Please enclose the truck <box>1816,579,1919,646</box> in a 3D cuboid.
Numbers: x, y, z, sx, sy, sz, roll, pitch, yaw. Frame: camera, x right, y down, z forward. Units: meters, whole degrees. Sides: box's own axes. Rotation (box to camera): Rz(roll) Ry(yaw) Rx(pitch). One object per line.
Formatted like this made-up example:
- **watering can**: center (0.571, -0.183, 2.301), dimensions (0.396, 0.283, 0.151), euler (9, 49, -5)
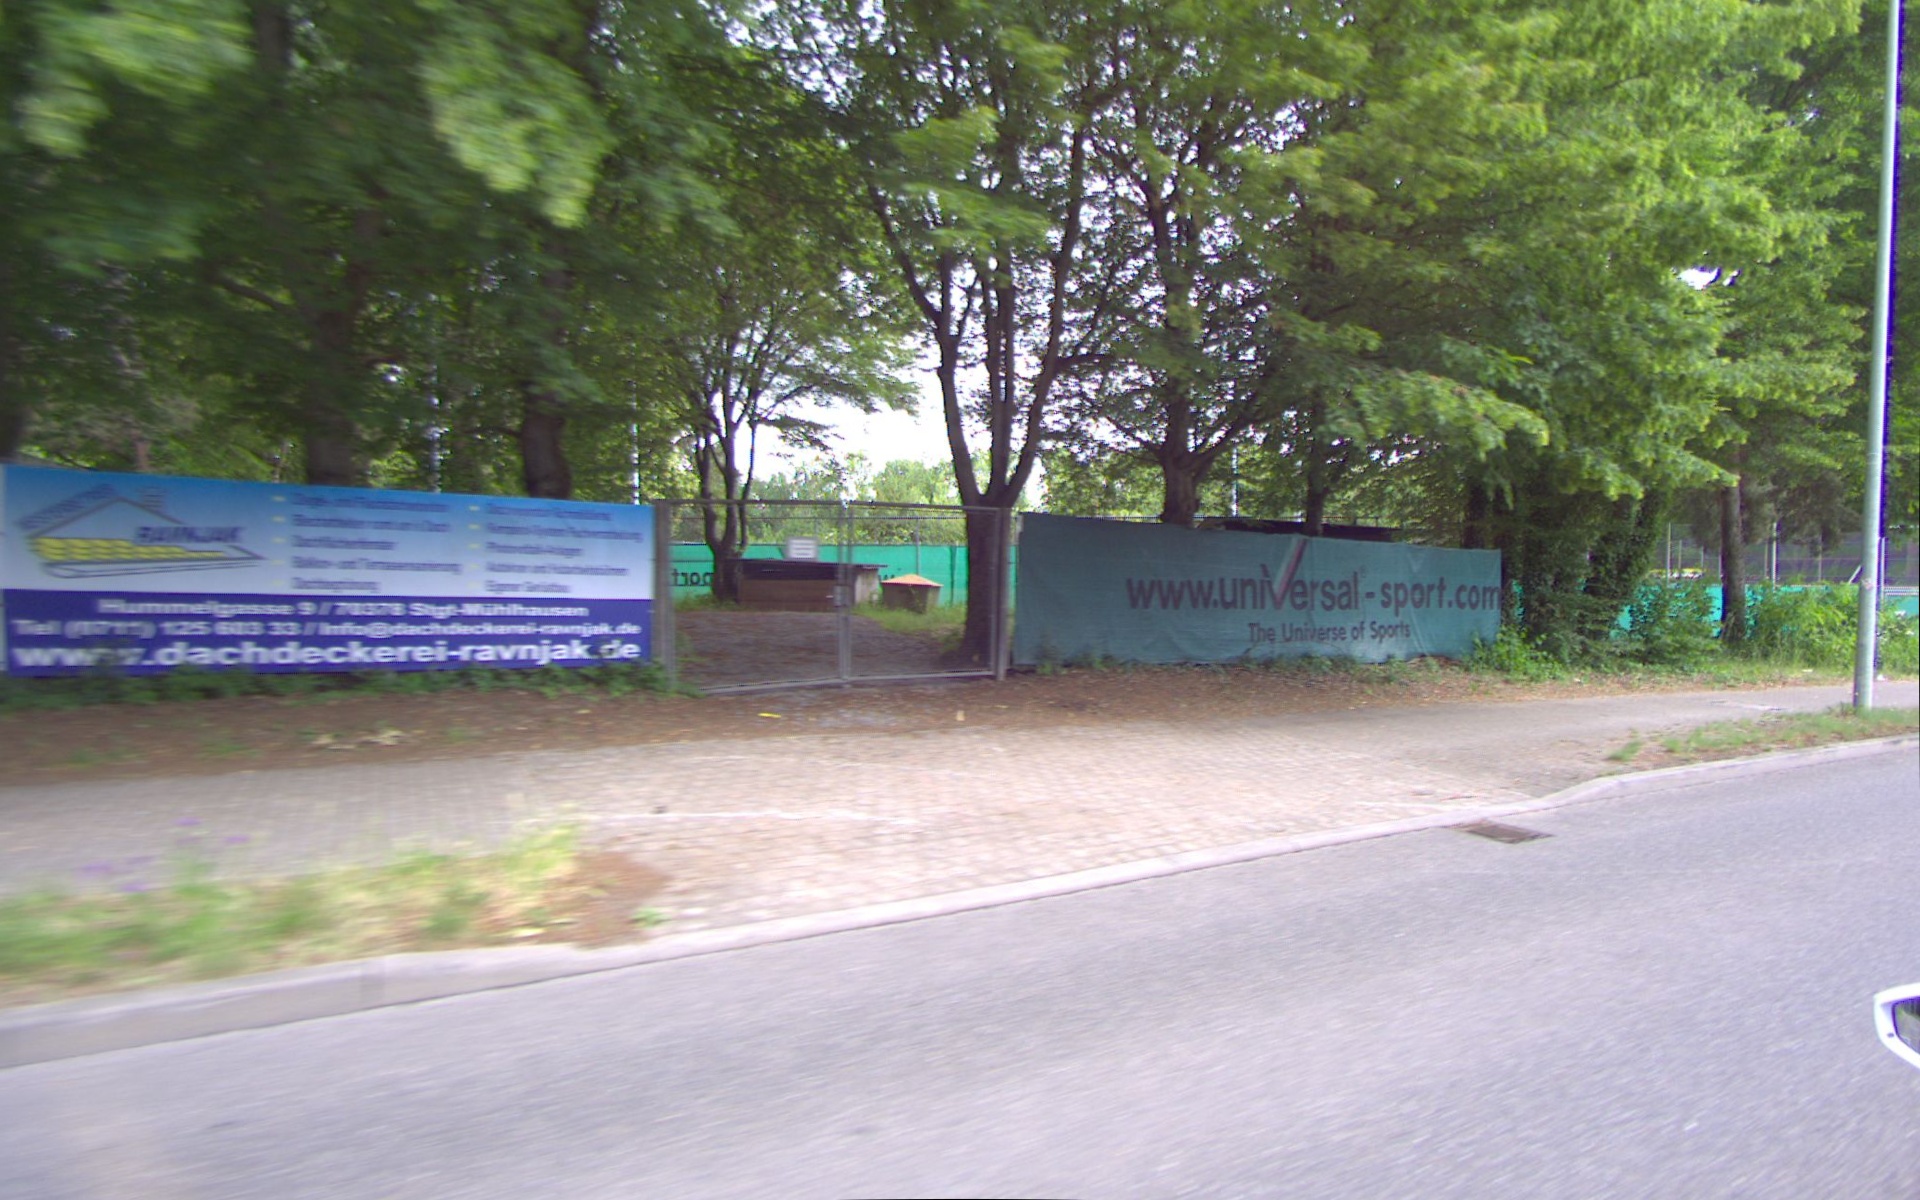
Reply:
- **truck**: center (53.249, 0.749, 55.354), dimensions (9.125, 3.578, 2.552), euler (2, 0, 42)
